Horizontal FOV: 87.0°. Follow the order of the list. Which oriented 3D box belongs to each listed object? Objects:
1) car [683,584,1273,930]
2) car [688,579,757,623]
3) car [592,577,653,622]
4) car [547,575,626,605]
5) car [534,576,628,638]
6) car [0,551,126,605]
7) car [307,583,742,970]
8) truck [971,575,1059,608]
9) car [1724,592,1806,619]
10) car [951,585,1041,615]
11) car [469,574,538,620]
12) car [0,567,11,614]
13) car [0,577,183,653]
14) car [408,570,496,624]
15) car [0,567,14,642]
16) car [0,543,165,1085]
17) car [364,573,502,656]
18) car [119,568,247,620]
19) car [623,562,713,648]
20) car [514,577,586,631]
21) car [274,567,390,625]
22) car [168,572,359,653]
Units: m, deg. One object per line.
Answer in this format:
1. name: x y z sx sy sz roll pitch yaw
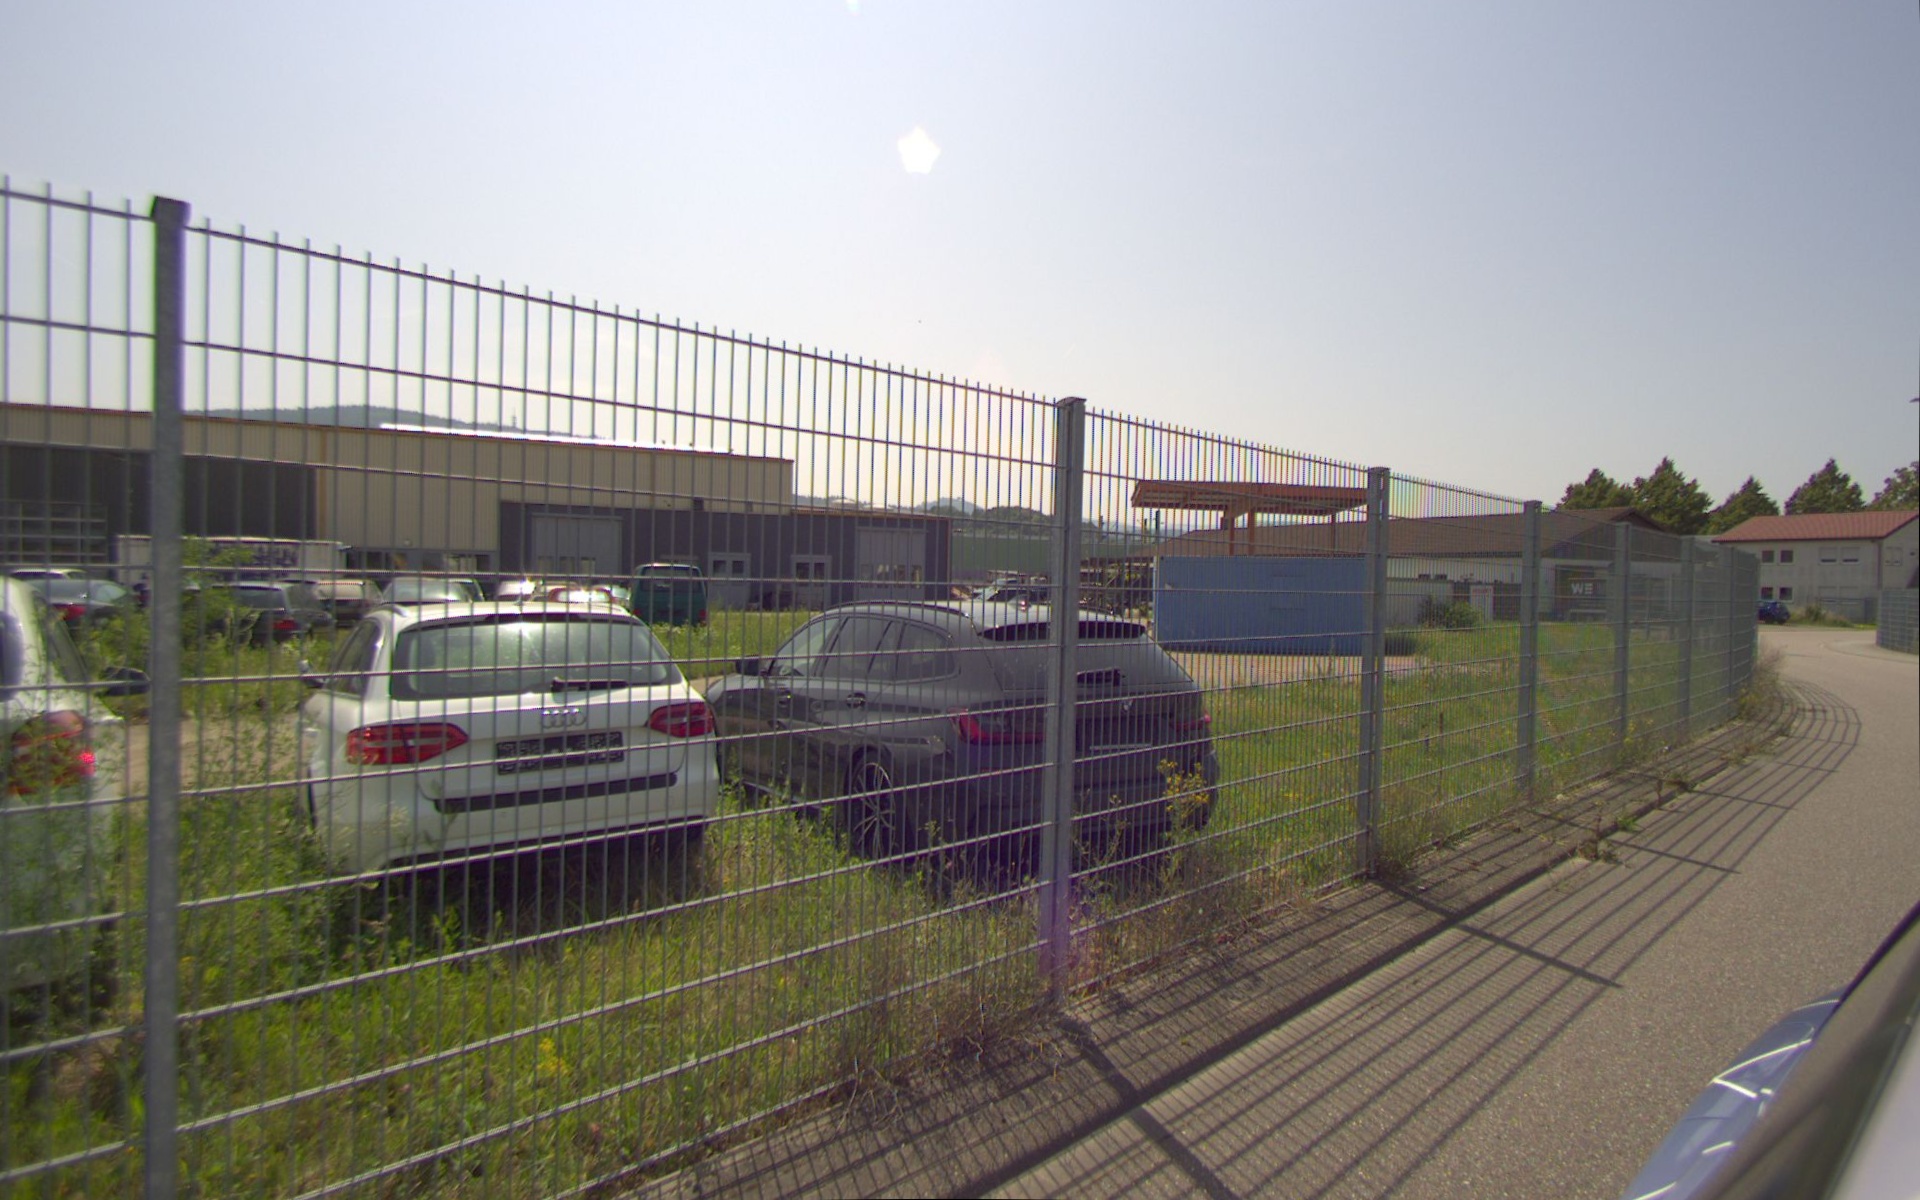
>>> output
1. car: -0.308 0.619 6.476 1.685 1.334 4.395 1 2 -31
2. car: -8.563 0.001 36.178 1.803 1.395 4.400 1 1 -21
3. car: -11.765 -0.054 35.113 1.803 1.395 4.400 1 1 -21
4. car: -18.323 -0.480 49.660 3.448 1.395 1.845 1 1 -28
5. car: -7.721 0.096 20.638 1.636 1.122 3.383 1 1 -21
6. car: -25.823 -0.651 28.889 1.932 1.403 4.399 1 1 -23
7. car: -2.561 0.624 5.576 1.609 1.334 3.481 1 2 -31
8. truck: 3.198 -0.498 58.900 4.699 1.820 2.065 1 1 -19
9. car: 50.485 0.341 63.563 1.549 1.411 3.655 1 4 -26
10. car: 1.723 -0.003 48.273 3.916 1.404 1.679 0 1 -21
11. car: -15.120 -0.144 33.683 1.803 1.382 4.400 1 1 -21
12. car: -28.004 -0.227 27.431 1.932 1.339 4.399 1 1 -23
13. car: -14.645 0.176 16.776 1.585 1.046 4.400 1 1 -21
14. car: -14.498 -0.129 29.063 1.803 1.395 4.400 1 1 -21
15. car: -16.795 0.122 15.486 1.839 1.290 4.400 1 1 -21
16. car: -3.960 0.506 3.758 1.488 1.435 3.476 1 2 -37
17. car: -9.843 0.196 19.200 1.803 1.362 4.400 1 1 -21
18. car: -22.708 -0.216 29.768 1.803 1.395 4.400 1 1 -21
19. car: -7.507 0.060 25.768 1.803 2.006 4.400 1 1 -21
20. car: -11.963 0.078 29.681 1.803 1.395 4.400 1 1 -21
21. car: -16.677 -0.153 27.096 1.803 1.395 4.400 1 1 -21
22. car: -12.143 0.149 17.971 1.803 1.220 4.400 1 1 -21
